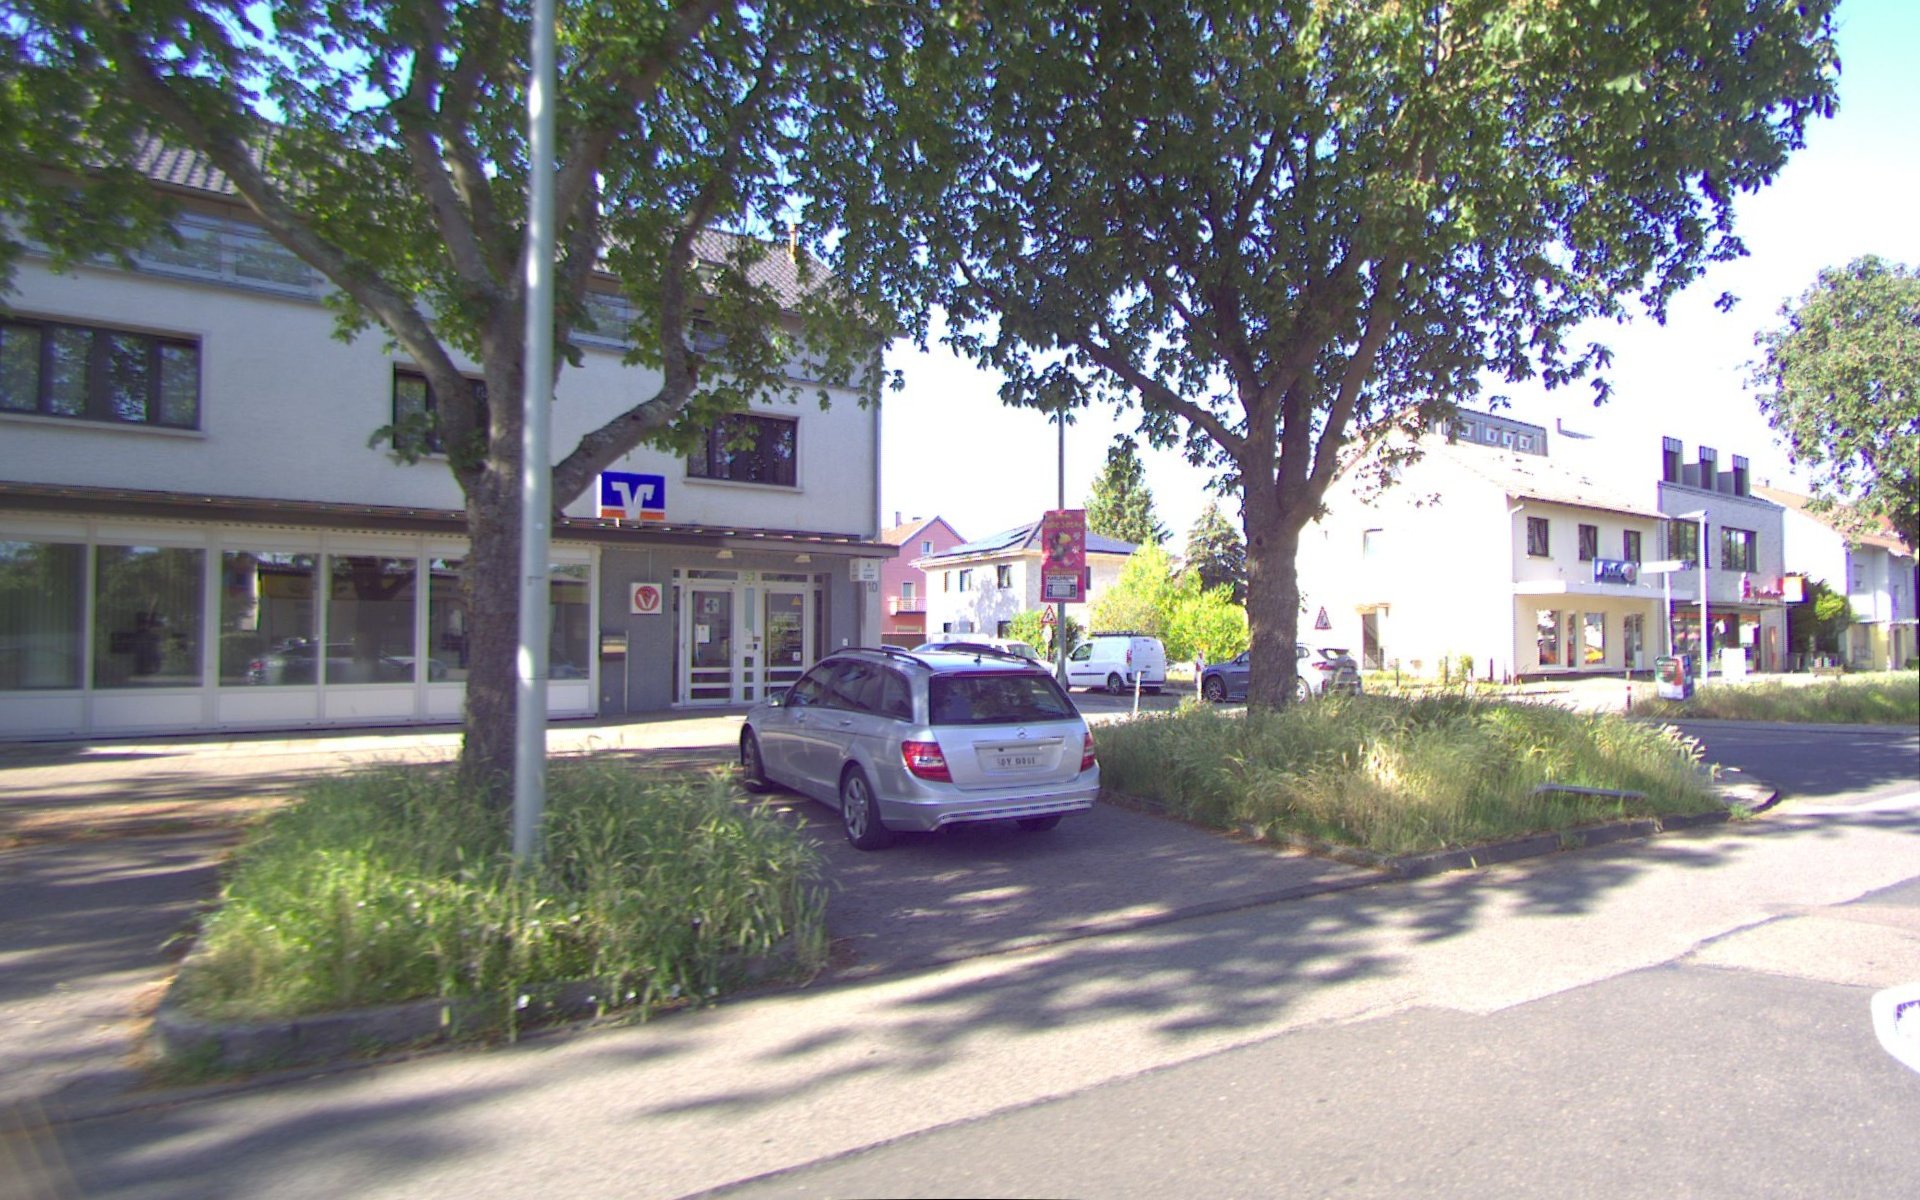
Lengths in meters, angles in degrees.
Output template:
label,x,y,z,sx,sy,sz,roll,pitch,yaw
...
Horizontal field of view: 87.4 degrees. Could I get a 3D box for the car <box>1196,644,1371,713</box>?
label,x,y,z,sx,sy,sz,roll,pitch,yaw
car,8.386,2.023,26.328,1.981,1.659,3.961,2,-4,-36

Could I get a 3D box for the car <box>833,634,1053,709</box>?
label,x,y,z,sx,sy,sz,roll,pitch,yaw
car,-0.333,1.684,23.403,4.862,1.583,1.980,4,-4,-36

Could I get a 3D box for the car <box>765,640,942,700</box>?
label,x,y,z,sx,sy,sz,roll,pitch,yaw
car,-2.953,2.003,28.372,4.624,1.547,1.860,4,-4,-36

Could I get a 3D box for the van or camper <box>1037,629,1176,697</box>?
label,x,y,z,sx,sy,sz,roll,pitch,yaw
van or camper,4.659,2.008,32.640,1.978,2.040,4.647,2,-3,-32

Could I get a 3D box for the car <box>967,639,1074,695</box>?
label,x,y,z,sx,sy,sz,roll,pitch,yaw
car,2.129,2.379,36.537,1.978,1.854,3.966,2,-2,-31

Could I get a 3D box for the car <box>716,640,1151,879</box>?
label,x,y,z,sx,sy,sz,roll,pitch,yaw
car,-0.528,1.137,8.879,1.977,1.434,4.360,2,-2,-31
